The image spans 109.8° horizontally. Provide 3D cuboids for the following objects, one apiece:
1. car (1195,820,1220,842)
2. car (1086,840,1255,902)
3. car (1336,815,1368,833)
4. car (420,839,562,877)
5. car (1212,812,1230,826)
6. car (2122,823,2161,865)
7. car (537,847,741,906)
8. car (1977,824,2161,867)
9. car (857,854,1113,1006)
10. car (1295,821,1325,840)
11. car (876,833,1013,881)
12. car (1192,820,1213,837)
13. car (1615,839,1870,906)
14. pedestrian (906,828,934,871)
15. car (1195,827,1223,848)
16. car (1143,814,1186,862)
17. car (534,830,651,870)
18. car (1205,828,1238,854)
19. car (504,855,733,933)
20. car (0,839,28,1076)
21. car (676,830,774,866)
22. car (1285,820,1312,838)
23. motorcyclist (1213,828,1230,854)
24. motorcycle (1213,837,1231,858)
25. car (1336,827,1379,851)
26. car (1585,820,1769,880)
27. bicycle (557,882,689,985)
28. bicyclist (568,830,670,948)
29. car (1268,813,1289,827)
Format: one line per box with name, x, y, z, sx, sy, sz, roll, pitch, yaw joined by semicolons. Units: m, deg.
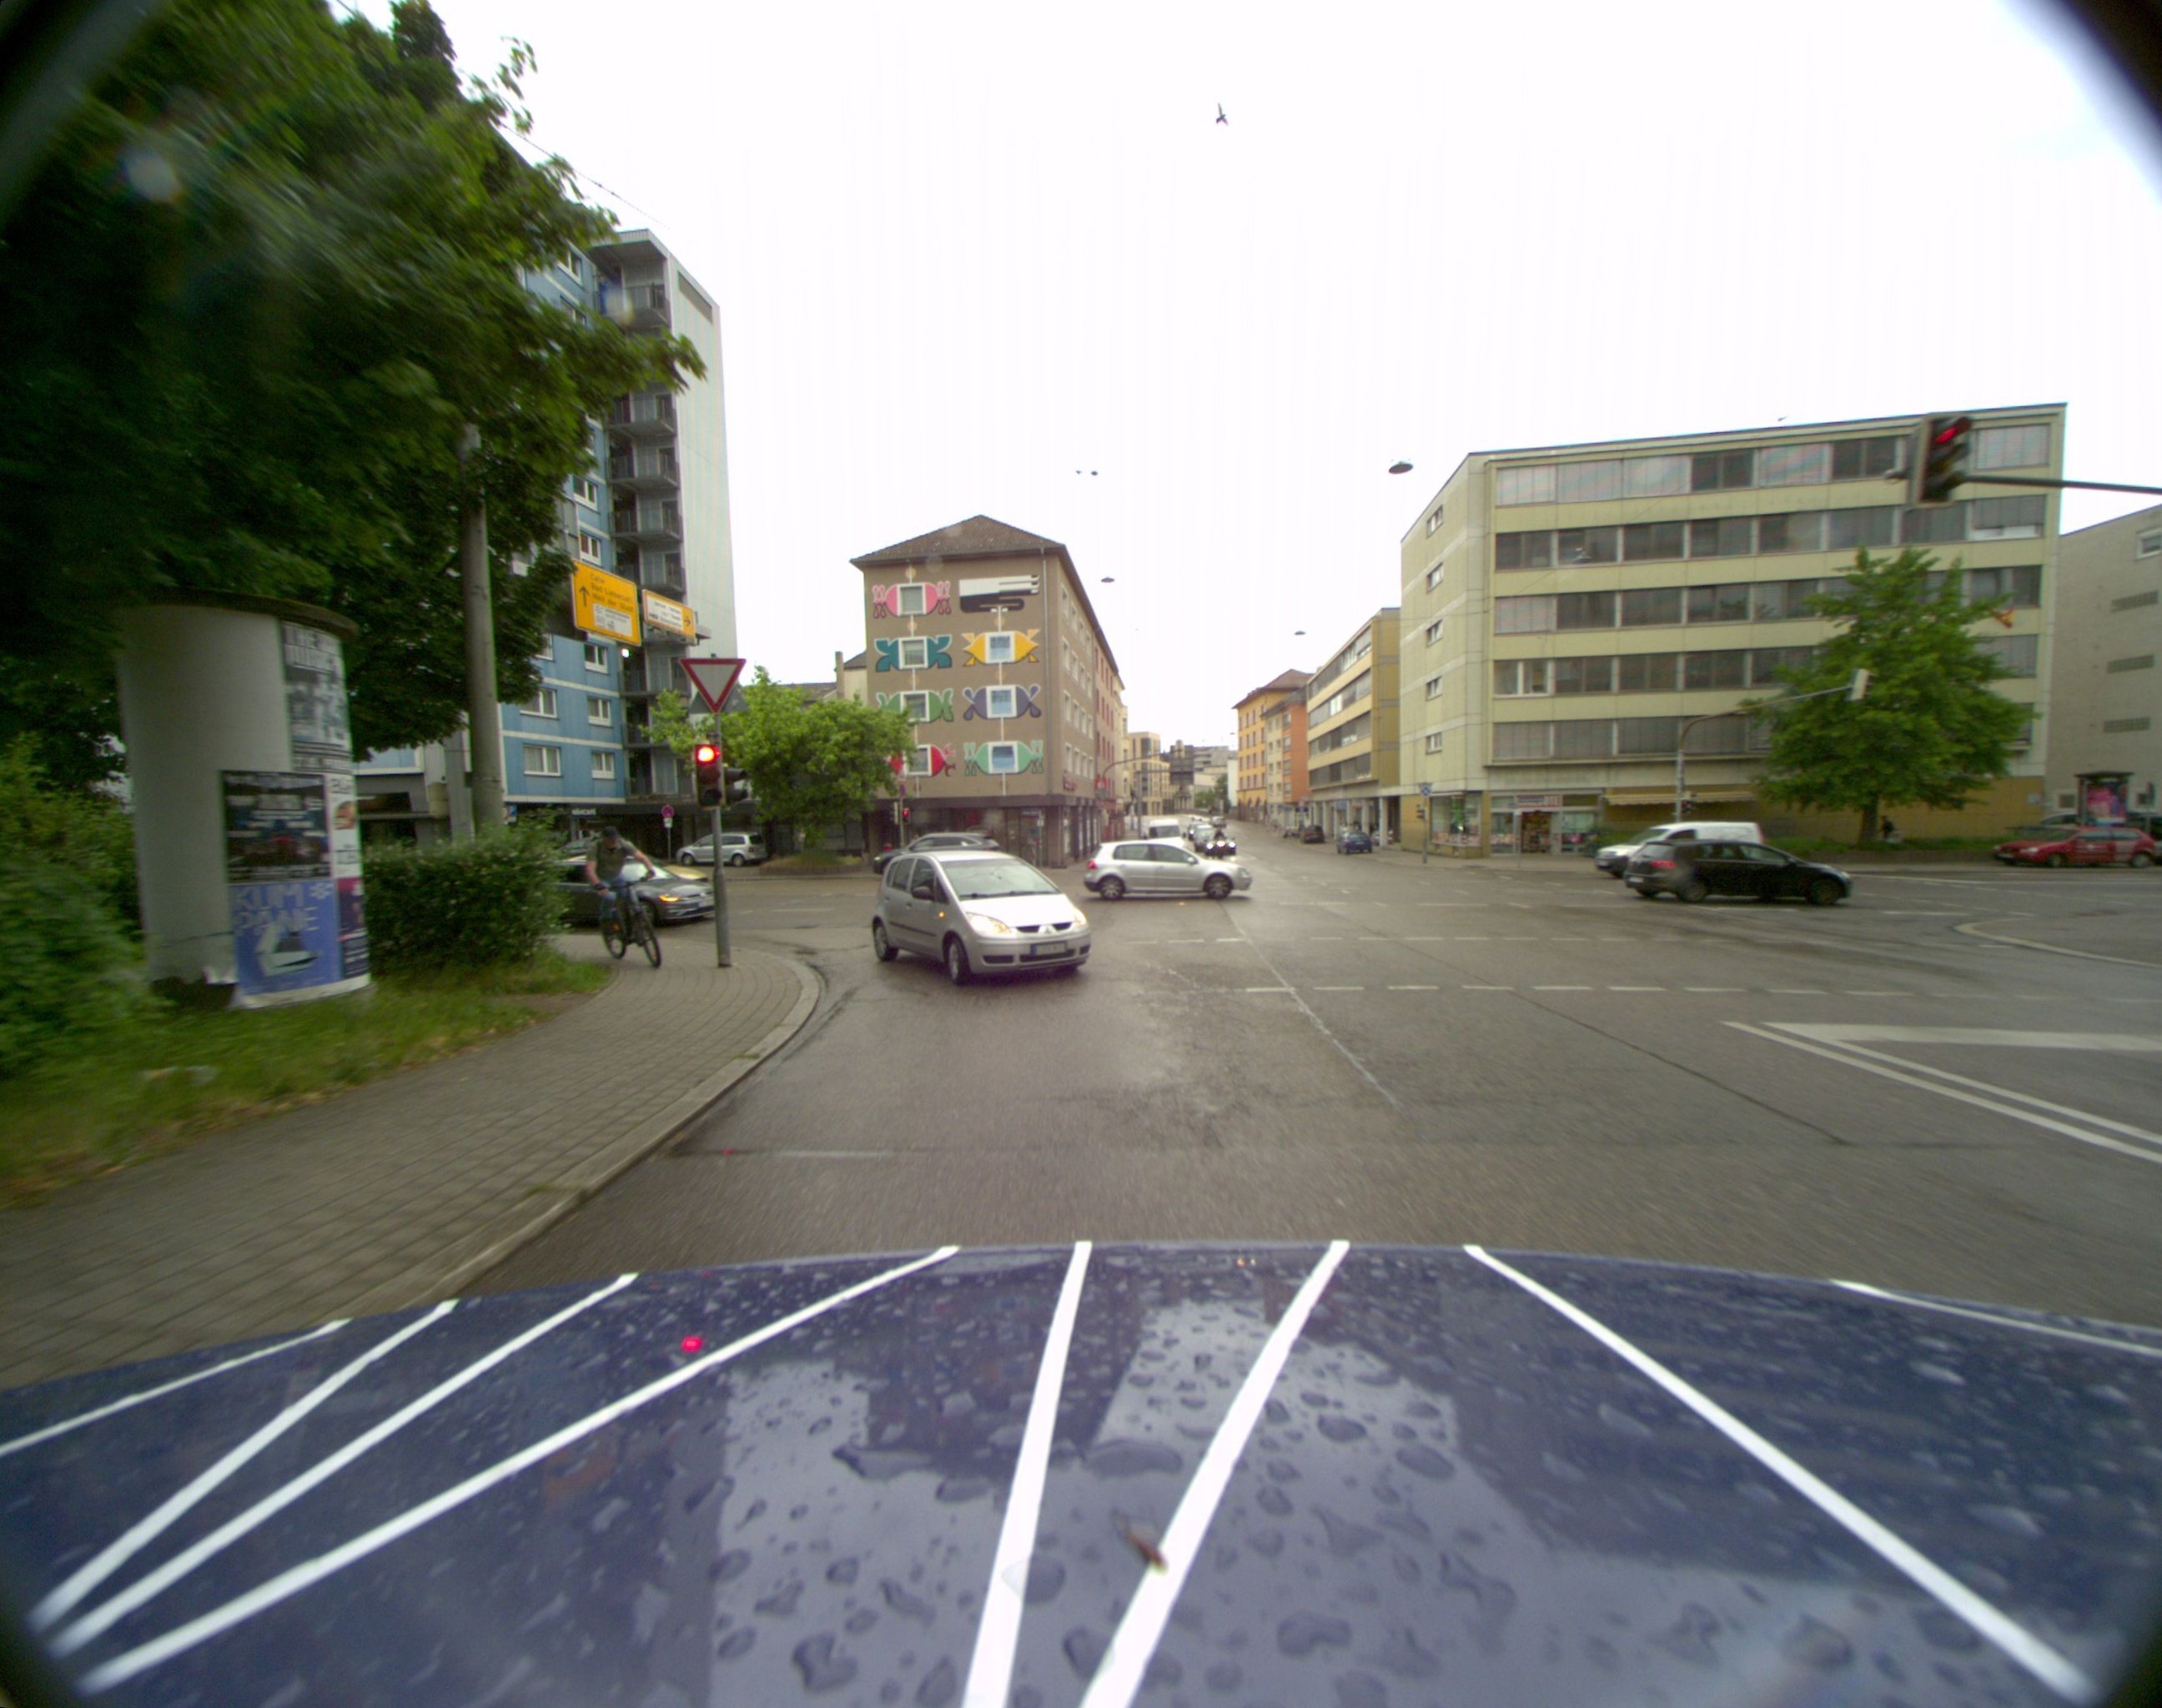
car;10.748;-1.940;64.685;1.848;1.705;3.570;-4;2;8
car;2.227;0.408;19.059;4.031;1.417;1.688;-1;3;7
car;25.510;-2.800;71.697;1.848;1.558;4.370;-4;2;7
car;-23.867;0.148;30.806;4.577;1.415;1.708;-1;2;6
car;19.276;-4.837;104.523;1.848;1.700;4.366;-1;4;2
car;40.265;-0.369;26.843;3.884;1.419;1.725;0;4;12
car;-12.256;0.606;21.250;4.575;1.434;1.991;-1;4;7
car;35.798;-0.315;27.603;3.884;1.419;1.725;0;4;12
car;-1.438;0.806;9.967;1.690;1.496;3.829;-4;2;-35
car;20.284;-2.096;67.463;1.848;1.558;4.370;-4;2;8
car;-5.028;0.090;28.215;4.563;1.693;1.992;0;2;10
car;11.814;-2.491;74.195;1.848;1.411;3.570;-4;2;8
car;15.038;0.380;17.500;4.161;1.417;1.688;0;3;7
pedestrian;-6.716;-0.186;31.769;0.902;1.764;0.818;0;2;7
car;9.314;-1.225;55.471;1.848;1.411;3.570;-4;2;8
car;4.997;-0.988;44.913;2.230;2.510;5.472;-3;2;8
car;-21.819;-0.211;34.013;4.181;1.657;1.650;1;5;6
car;8.878;-0.854;48.361;1.848;1.411;3.570;-4;2;8
car;-10.415;0.885;17.182;4.493;1.497;1.688;-1;5;15
car;-9.489;0.754;4.558;4.208;1.612;1.637;-1;0;3
car;-17.881;-0.317;38.245;4.181;1.657;1.650;1;5;6
car;20.880;-2.369;73.022;1.848;1.558;4.370;-4;2;8
motorcyclist;7.955;-0.736;42.939;0.878;1.471;0.796;-1;3;7
motorcycle;7.961;-0.374;42.958;0.878;1.093;1.800;-1;2;7
car;18.120;-0.994;49.915;1.848;1.411;3.570;-4;2;8
car;19.080;-0.144;24.526;4.224;1.845;1.992;0;2;9
bicycle;-6.144;0.986;10.136;2.127;1.180;0.891;0;-1;41
bicyclist;-6.192;0.449;10.183;0.965;1.480;0.891;0;-1;41
car;24.068;-4.179;92.781;1.848;1.558;4.370;-4;2;8
